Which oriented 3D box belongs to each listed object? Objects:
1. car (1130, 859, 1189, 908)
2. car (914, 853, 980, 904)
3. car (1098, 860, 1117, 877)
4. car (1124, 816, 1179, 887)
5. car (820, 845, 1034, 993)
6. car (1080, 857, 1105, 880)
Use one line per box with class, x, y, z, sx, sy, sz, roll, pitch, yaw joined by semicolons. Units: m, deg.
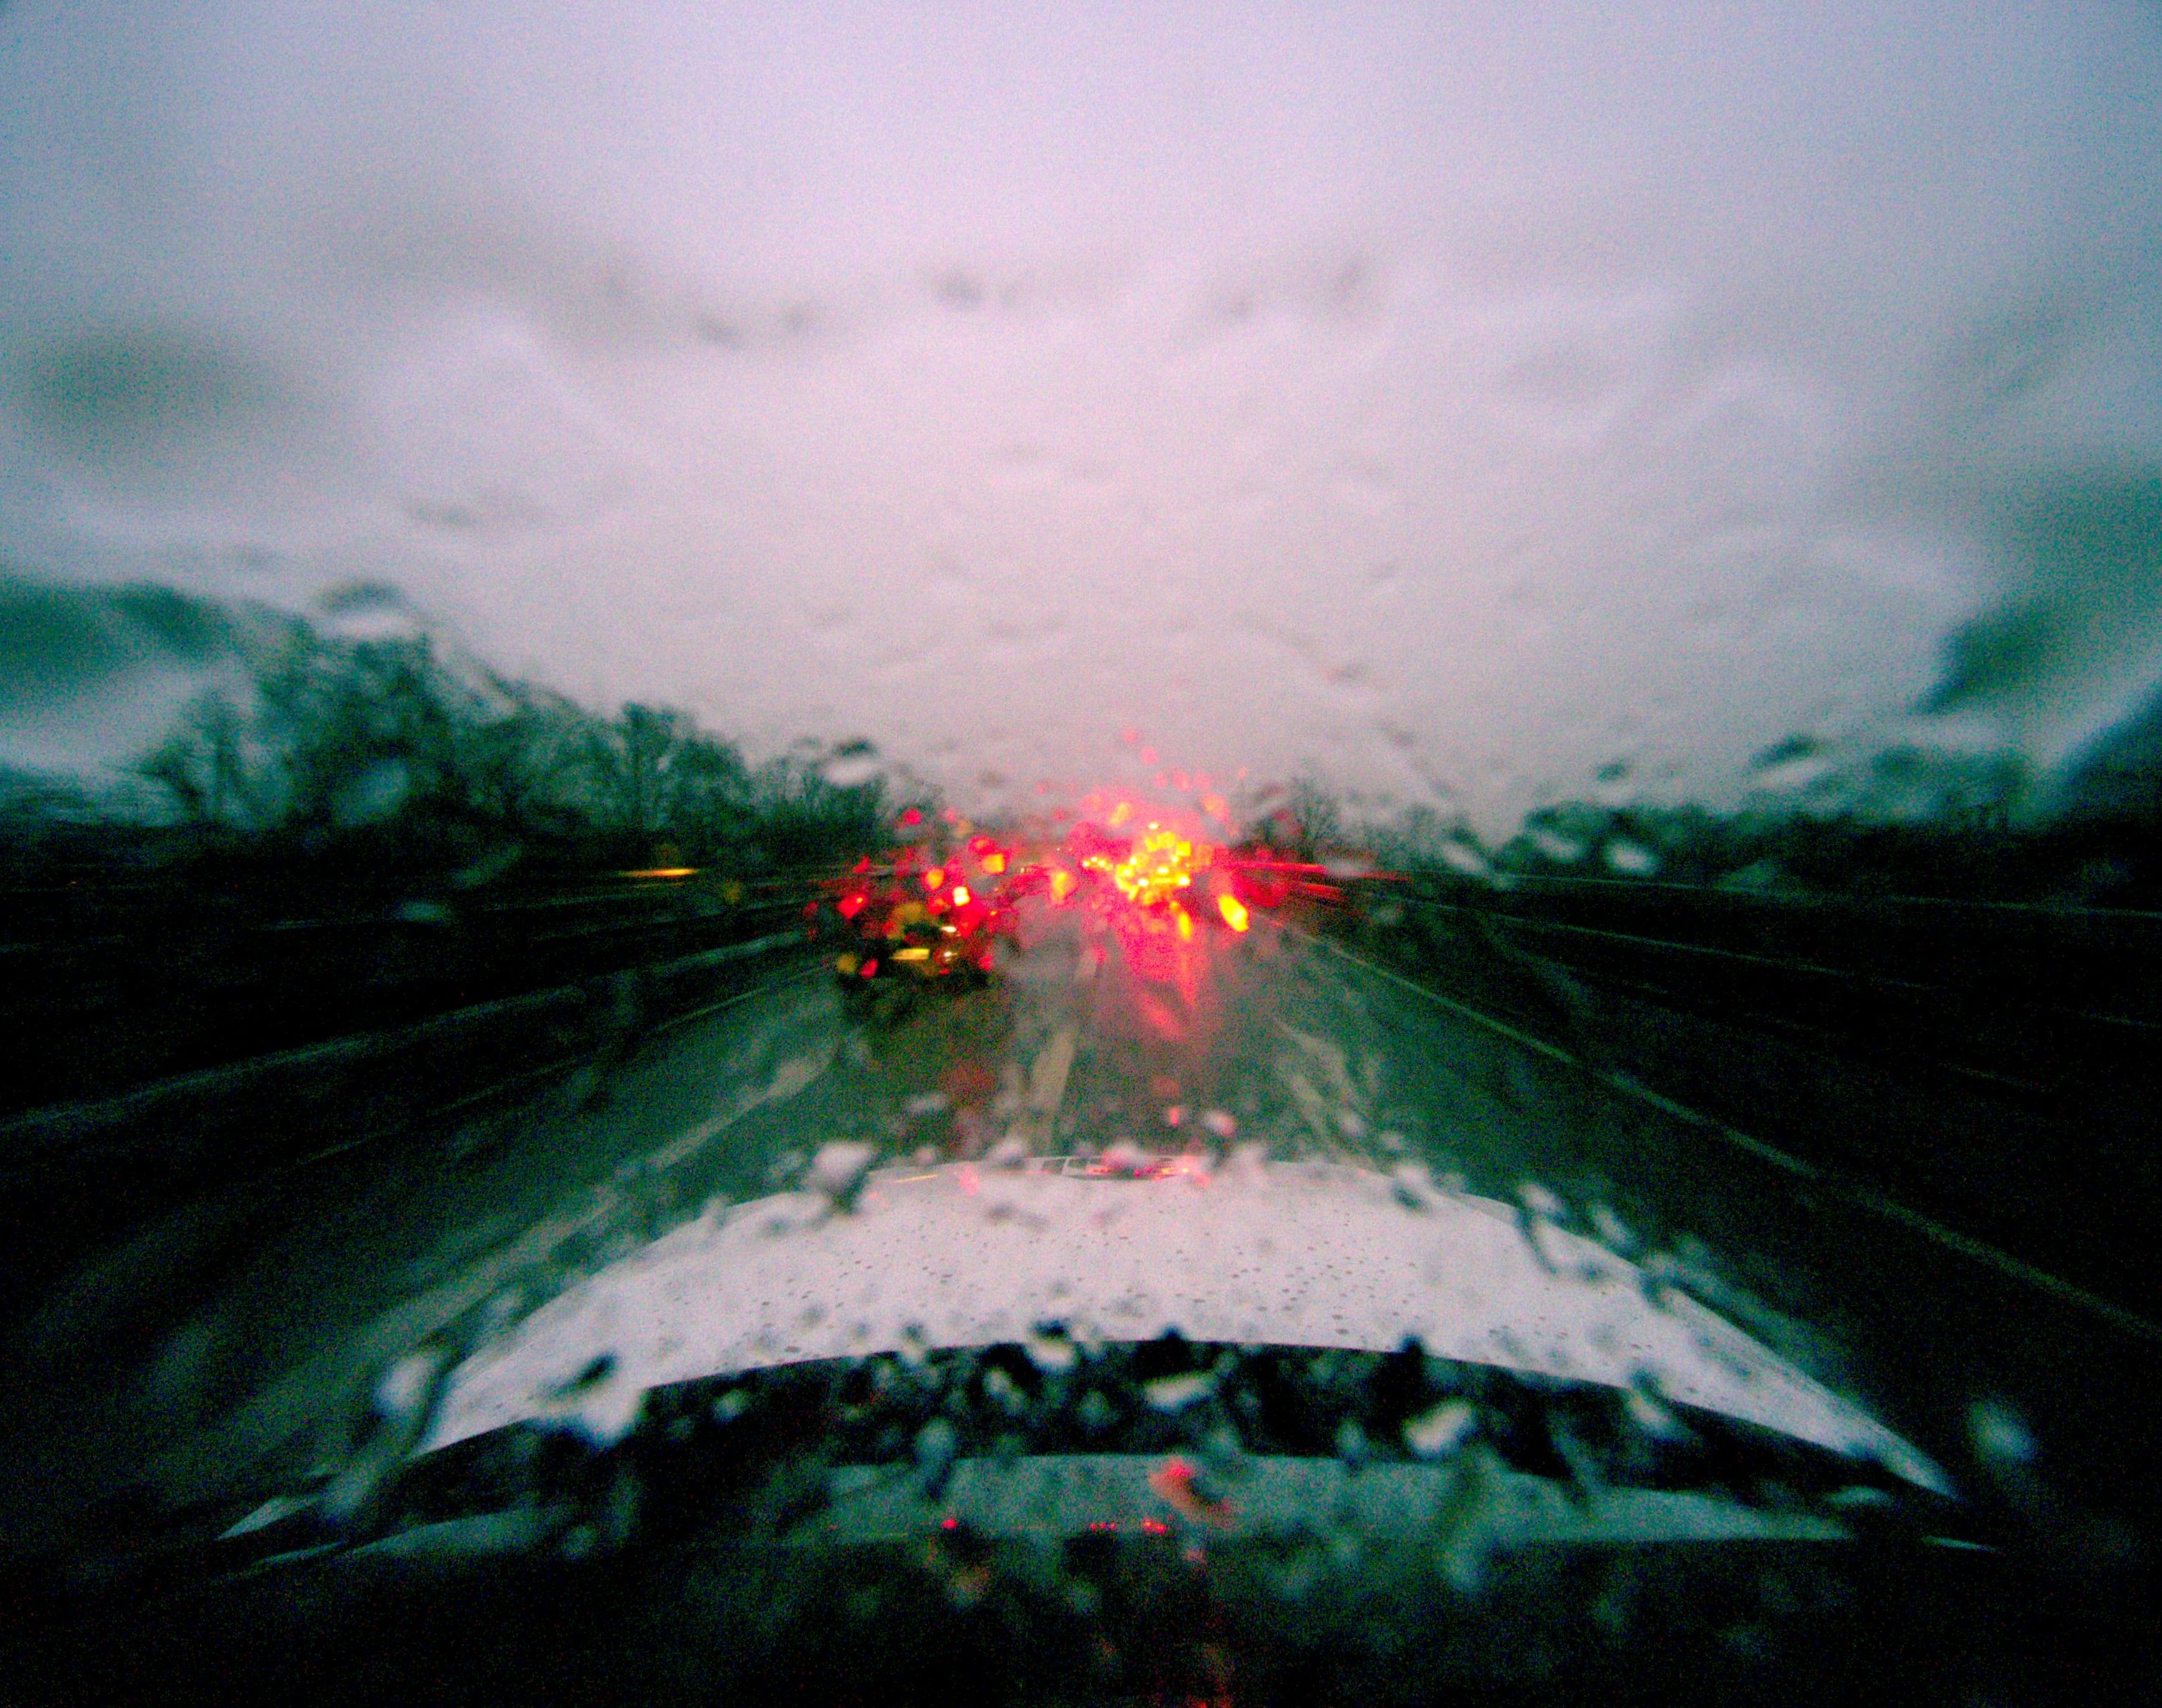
car;2.538;0.897;26.676;1.728;1.414;4.383;1;0;5
car;-6.302;1.130;38.805;2.041;2.263;5.210;-1;-1;2
car;2.764;1.542;85.829;1.986;1.714;4.000;0;-1;1
car;3.172;-0.056;37.712;2.272;2.966;6.395;-2;-1;3
car;-1.749;0.737;10.602;1.722;1.533;4.046;-1;-2;4
car;0.988;1.210;68.359;1.986;1.815;4.002;2;0;2
